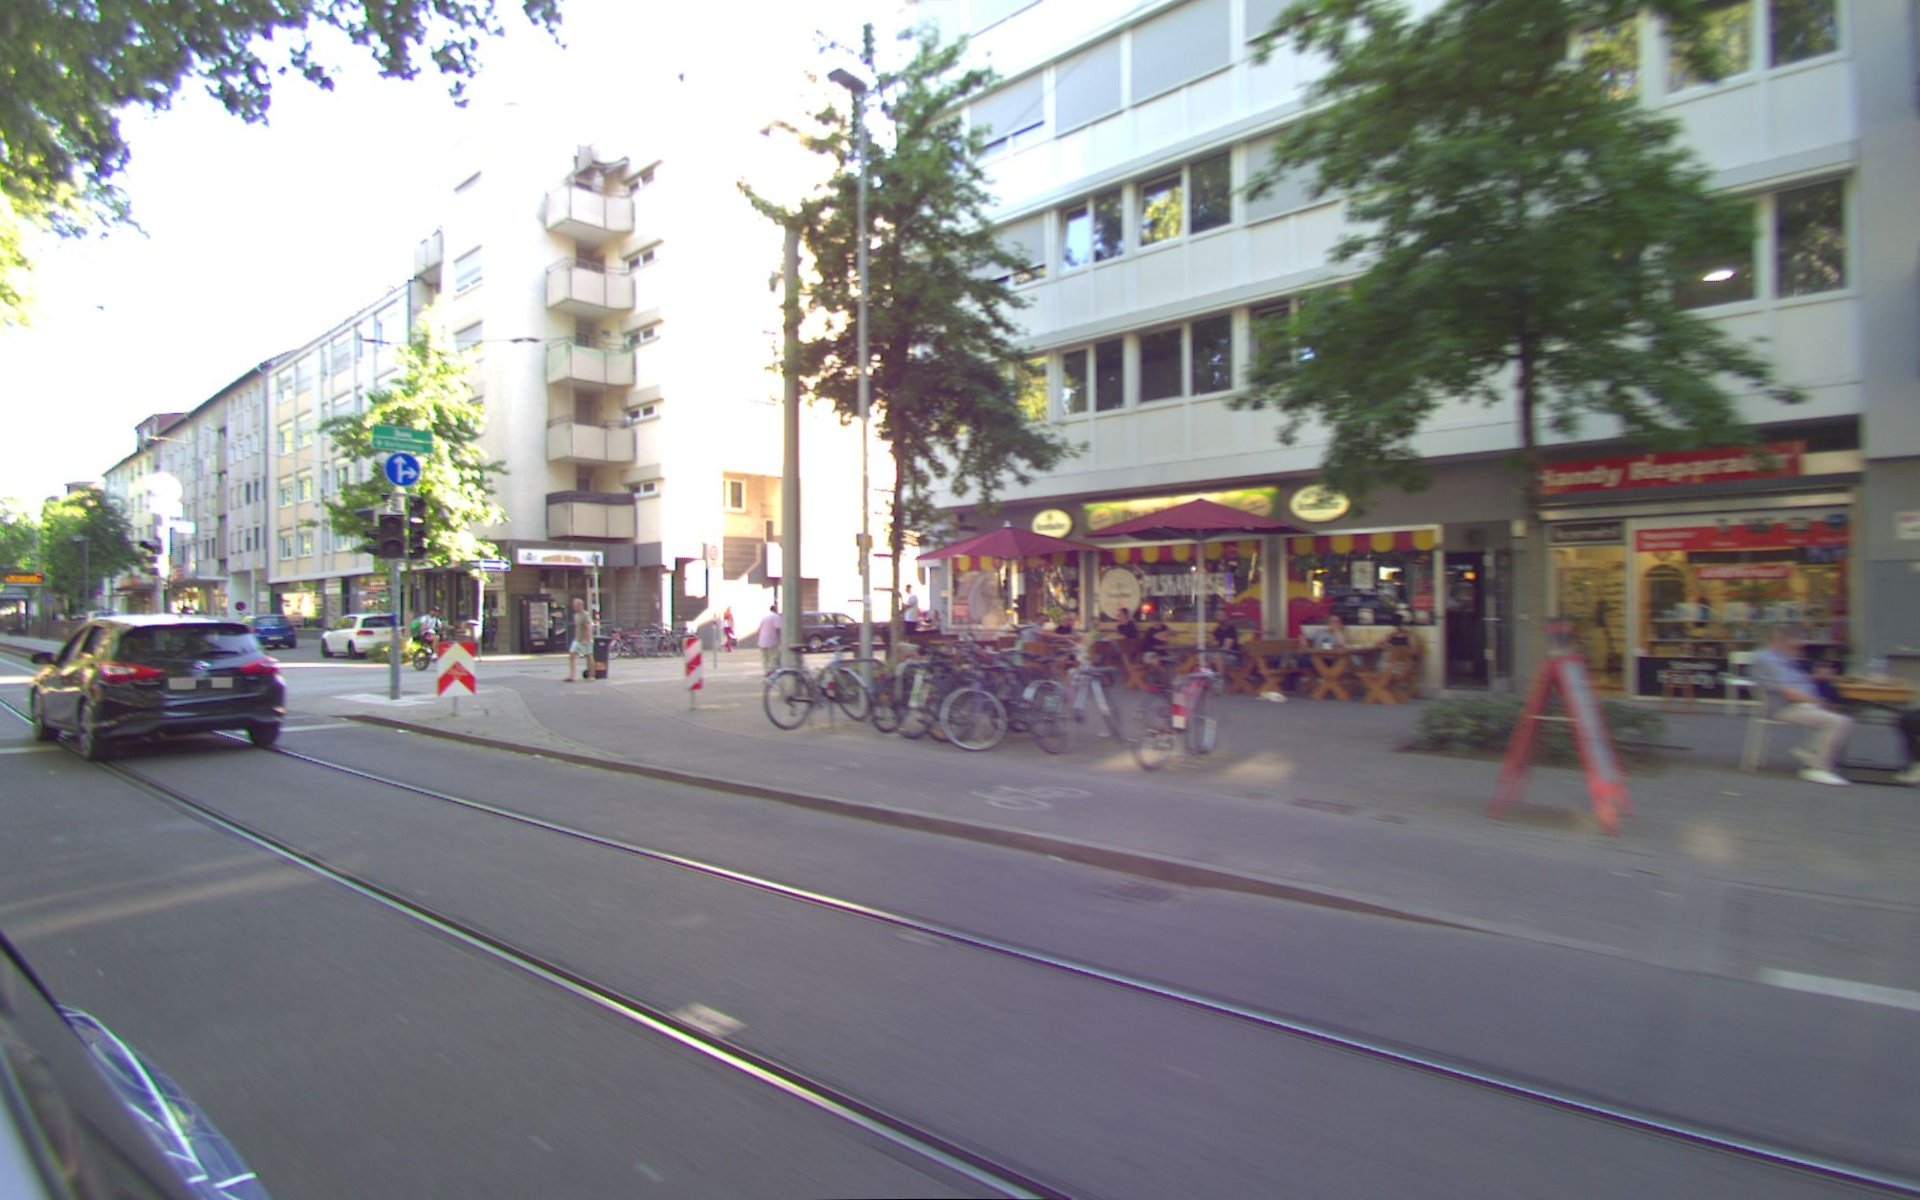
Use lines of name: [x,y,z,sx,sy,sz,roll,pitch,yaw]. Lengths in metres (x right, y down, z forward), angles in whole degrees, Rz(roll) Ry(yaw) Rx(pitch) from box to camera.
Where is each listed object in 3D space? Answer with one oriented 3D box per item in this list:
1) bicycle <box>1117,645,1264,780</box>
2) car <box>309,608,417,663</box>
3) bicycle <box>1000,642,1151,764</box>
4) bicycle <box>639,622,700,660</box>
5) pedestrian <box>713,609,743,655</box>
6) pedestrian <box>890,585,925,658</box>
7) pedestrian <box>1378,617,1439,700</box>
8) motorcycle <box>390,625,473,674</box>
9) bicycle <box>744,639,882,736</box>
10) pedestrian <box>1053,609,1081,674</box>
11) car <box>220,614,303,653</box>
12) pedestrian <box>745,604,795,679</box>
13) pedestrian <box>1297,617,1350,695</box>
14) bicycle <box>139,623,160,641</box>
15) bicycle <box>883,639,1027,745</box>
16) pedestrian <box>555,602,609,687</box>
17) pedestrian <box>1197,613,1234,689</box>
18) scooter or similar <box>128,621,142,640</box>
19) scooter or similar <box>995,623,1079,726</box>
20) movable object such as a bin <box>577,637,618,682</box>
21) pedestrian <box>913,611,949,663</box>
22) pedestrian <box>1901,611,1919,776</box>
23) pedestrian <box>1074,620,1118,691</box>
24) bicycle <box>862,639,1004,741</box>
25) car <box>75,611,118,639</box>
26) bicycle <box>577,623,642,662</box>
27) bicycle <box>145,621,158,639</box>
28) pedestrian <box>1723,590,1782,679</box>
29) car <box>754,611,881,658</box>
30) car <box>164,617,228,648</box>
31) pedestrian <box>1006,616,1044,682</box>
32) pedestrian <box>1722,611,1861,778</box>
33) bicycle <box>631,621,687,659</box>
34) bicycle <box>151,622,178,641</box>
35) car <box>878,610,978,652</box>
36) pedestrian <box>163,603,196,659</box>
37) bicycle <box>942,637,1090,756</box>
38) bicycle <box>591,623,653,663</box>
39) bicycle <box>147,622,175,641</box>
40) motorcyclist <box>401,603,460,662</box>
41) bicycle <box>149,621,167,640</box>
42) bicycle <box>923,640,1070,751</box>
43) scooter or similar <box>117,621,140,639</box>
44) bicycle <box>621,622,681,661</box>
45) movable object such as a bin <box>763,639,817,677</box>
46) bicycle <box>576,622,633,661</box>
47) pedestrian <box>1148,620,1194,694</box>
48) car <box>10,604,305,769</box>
bicycle: [2.115,0.957,9.147,0.657,1.015,1.675,-1,0,37]
car: [-20.109,1.165,34.042,4.356,1.663,1.858,-1,1,42]
bicycle: [1.191,0.978,10.125,0.657,1.015,1.812,-1,0,37]
bicycle: [-9.197,1.286,32.084,1.760,1.165,0.573,0,-1,-37]
pedestrian: [-8.095,1.109,35.330,0.725,1.568,0.717,-1,-1,42]
pedestrian: [-1.223,0.504,23.549,0.739,1.672,0.768,0,-1,2]
pedestrian: [6.743,0.863,15.202,0.655,1.207,0.665,-1,-2,41]
motorcycle: [-13.273,1.229,25.432,1.903,1.173,0.845,-1,-1,23]
bicycle: [-1.757,1.019,12.318,0.657,1.015,1.675,-1,0,37]
pedestrian: [2.025,0.786,19.105,0.507,1.207,0.562,0,-1,8]
car: [-29.103,1.370,42.138,4.389,1.556,1.935,-1,-2,43]
pedestrian: [-4.052,0.871,21.559,0.767,1.568,0.718,-1,-2,37]
pedestrian: [5.768,0.870,16.043,0.624,1.207,0.556,-1,-2,41]
bicycle: [-52.664,2.054,65.731,2.034,1.165,0.565,-1,-2,37]
bicycle: [-0.017,0.995,11.456,0.657,1.015,1.812,-1,0,37]
pedestrian: [-7.755,0.898,20.758,0.767,1.684,0.750,-1,-2,37]
pedestrian: [4.091,0.808,16.220,0.558,1.207,0.511,-1,-1,14]
scooter or similar: [-54.404,2.007,66.706,1.273,1.183,0.440,-1,-2,38]
scooter or similar: [0.965,0.896,12.562,0.498,1.185,1.068,-1,0,41]
movable object such as a bin: [-7.854,1.283,21.914,0.646,0.939,0.536,-1,-1,26]
pedestrian: [-0.708,0.908,24.977,0.760,1.251,0.747,0,-1,9]
pedestrian: [7.982,0.735,7.787,0.908,1.307,0.707,-1,-1,29]
pedestrian: [2.366,0.951,17.660,0.564,1.207,0.506,-1,-2,44]
bicycle: [-0.280,1.001,11.822,0.657,1.015,1.812,-1,0,37]
car: [-62.000,1.776,72.663,4.048,1.949,1.784,-1,-2,41]
bicycle: [-10.773,1.298,31.174,1.836,1.165,0.572,1,-1,-43]
bicycle: [-54.160,2.012,67.803,0.506,1.165,1.688,1,-2,-44]
pedestrian: [11.093,0.474,14.165,0.505,1.207,0.564,1,-2,-42]
car: [-4.972,1.167,35.684,1.895,1.515,4.234,-1,-1,43]
car: [-37.469,1.576,49.624,4.282,1.475,1.775,-1,-2,43]
pedestrian: [1.215,0.907,18.905,0.561,1.207,0.508,-1,-1,26]
pedestrian: [6.892,0.747,8.431,0.744,1.307,0.707,-1,-1,29]
bicycle: [-9.700,1.270,32.667,0.571,1.165,1.768,-1,-1,35]
bicycle: [-49.573,1.946,63.063,2.020,1.165,0.555,-1,-1,27]
car: [-1.212,1.177,39.434,1.805,1.515,3.729,-1,-1,43]
pedestrian: [-22.438,0.886,29.089,0.772,1.597,0.646,-1,-1,43]
bicycle: [0.628,0.971,10.730,0.657,1.072,1.812,-1,0,37]
bicycle: [-10.174,1.273,30.480,1.759,1.165,0.574,0,-1,-17]
bicycle: [-49.465,1.948,62.632,2.020,1.165,0.555,-1,-1,27]
motorcyclist: [-13.323,0.809,25.468,1.009,1.451,0.869,-1,-1,23]
bicycle: [-51.156,1.936,64.525,1.749,1.165,0.488,-1,-2,37]
bicycle: [0.435,0.991,10.993,0.657,1.015,1.812,-1,0,37]
scooter or similar: [-55.463,2.028,67.500,1.259,1.183,0.445,0,-1,6]
bicycle: [-9.495,1.253,31.126,1.759,1.165,0.574,0,-1,-17]
movable object such as a bin: [-3.765,1.284,22.467,0.661,0.763,1.188,-1,0,21]
bicycle: [-11.287,1.303,32.172,0.568,1.165,2.024,-1,-1,20]
pedestrian: [3.513,0.932,16.869,0.684,1.207,0.601,0,-1,8]
car: [-9.503,0.894,11.873,4.141,1.602,1.853,-2,-1,39]
